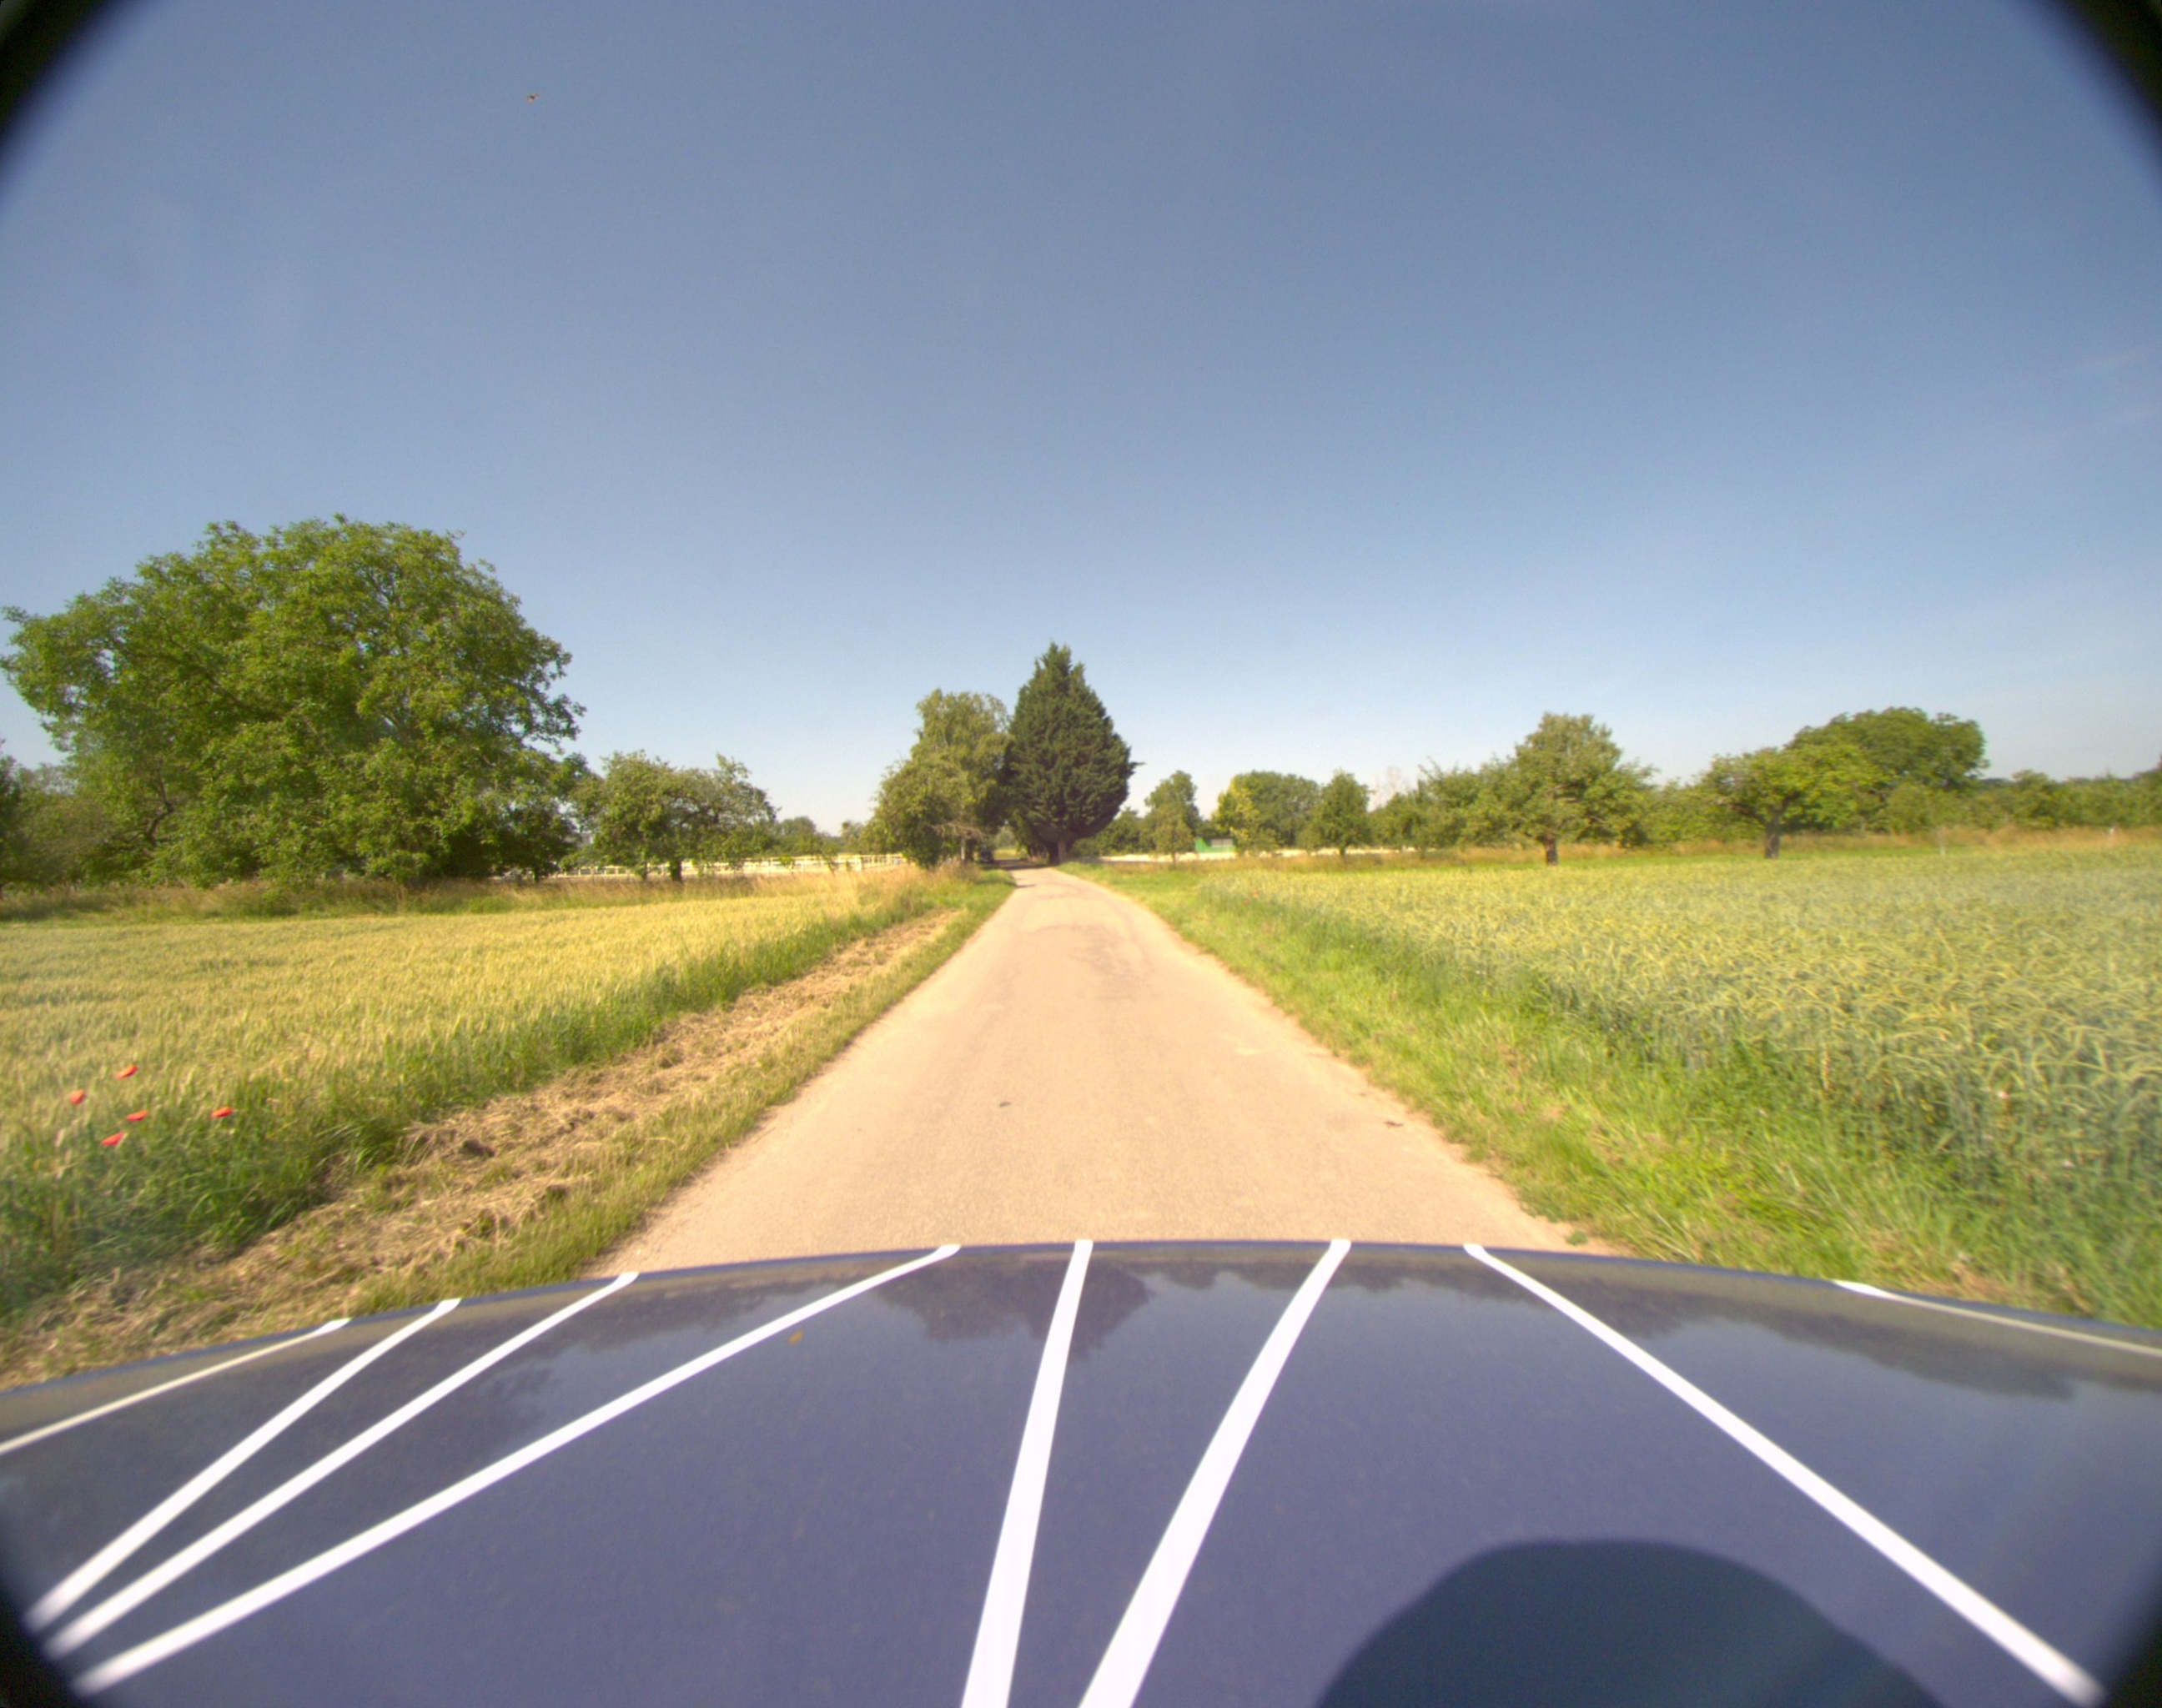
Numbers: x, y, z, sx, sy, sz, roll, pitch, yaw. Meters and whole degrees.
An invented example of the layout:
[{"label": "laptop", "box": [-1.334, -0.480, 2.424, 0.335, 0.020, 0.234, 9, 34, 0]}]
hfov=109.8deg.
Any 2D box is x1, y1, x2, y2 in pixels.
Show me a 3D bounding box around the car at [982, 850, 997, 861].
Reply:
[{"label": "car", "box": [-11.629, 0.143, 96.447, 1.723, 1.312, 3.740, -2, 1, -8]}]
